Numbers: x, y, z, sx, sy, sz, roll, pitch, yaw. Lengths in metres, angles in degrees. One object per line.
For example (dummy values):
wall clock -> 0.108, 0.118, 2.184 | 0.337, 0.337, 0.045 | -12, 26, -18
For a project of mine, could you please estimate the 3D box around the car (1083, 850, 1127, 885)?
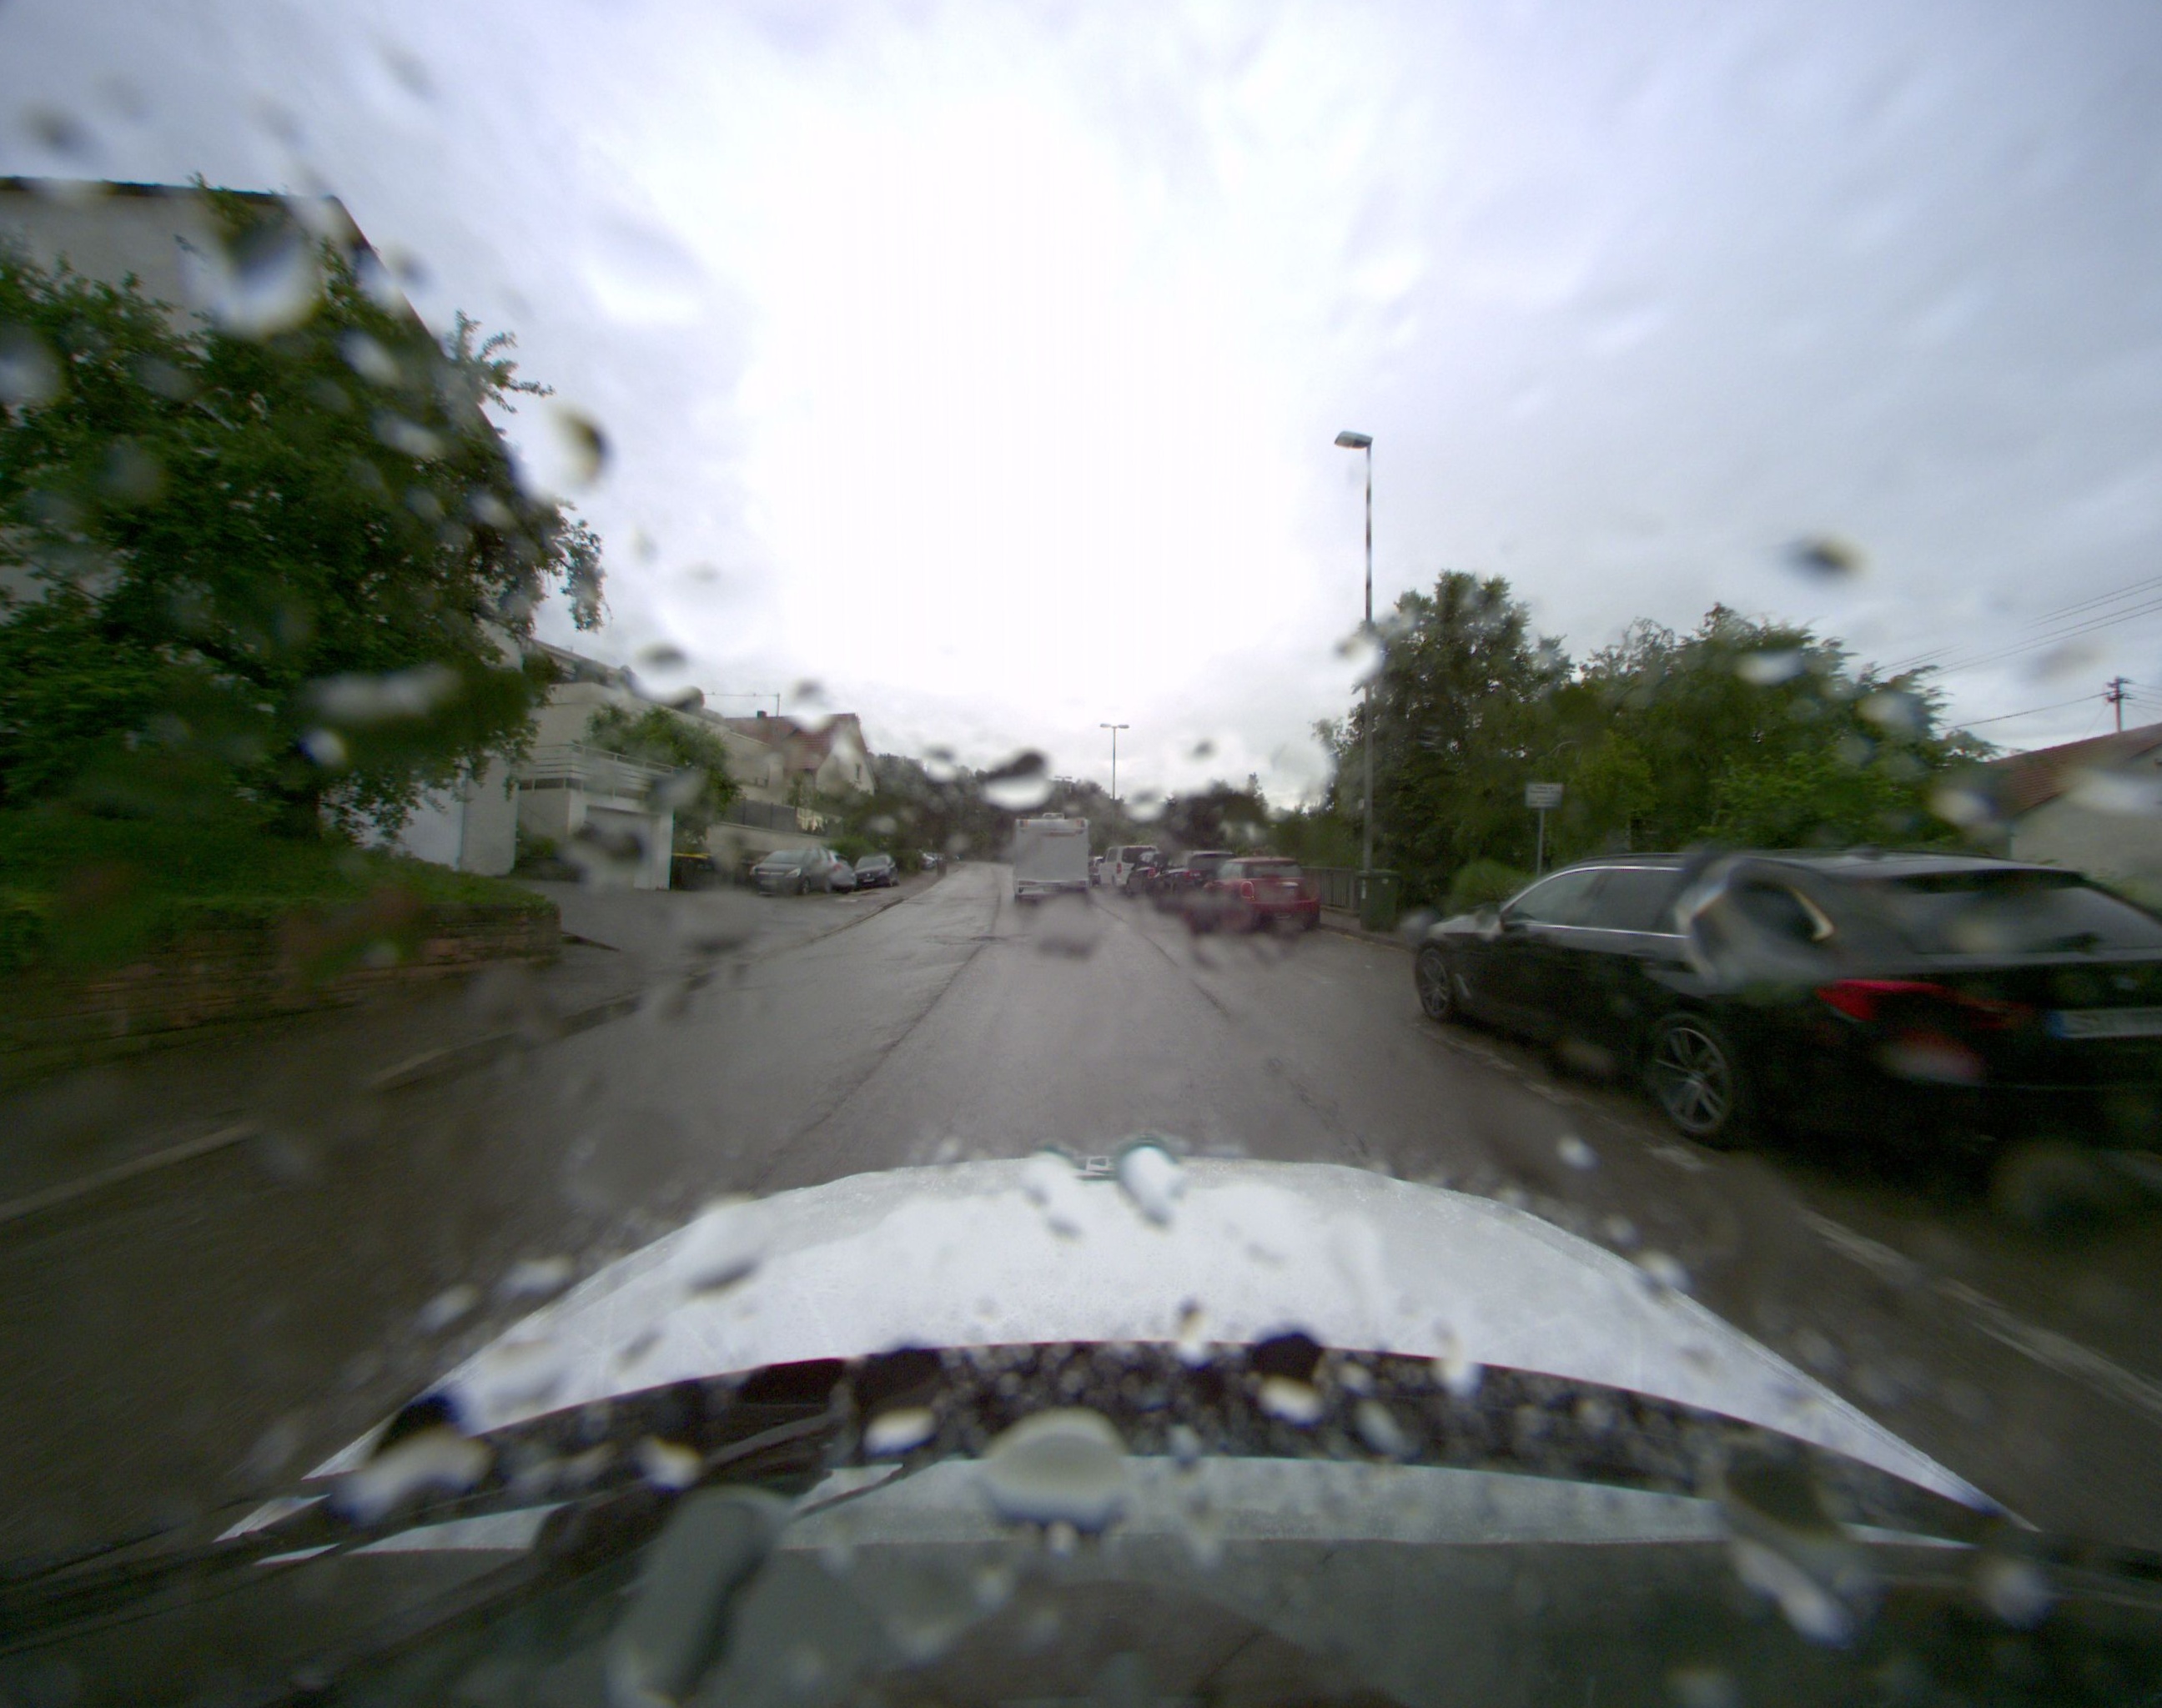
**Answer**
car -> 1.125, 0.628, 39.161 | 1.645, 1.563, 3.956 | -1, -1, -5

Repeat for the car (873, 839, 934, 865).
car -> -13.558, -0.158, 62.326 | 4.034, 1.692, 1.897 | 4, -1, 6

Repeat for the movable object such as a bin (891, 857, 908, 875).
movable object such as a bin -> -10.888, 0.731, 48.863 | 0.693, 1.083, 0.712 | 0, 0, 12

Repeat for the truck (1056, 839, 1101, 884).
truck -> -0.240, 0.461, 51.843 | 2.236, 2.631, 6.525 | -1, -1, -5

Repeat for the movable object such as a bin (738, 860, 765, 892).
movable object such as a bin -> -11.181, 0.740, 27.633 | 0.648, 1.078, 0.559 | -1, 0, 14

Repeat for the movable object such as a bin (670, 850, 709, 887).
movable object such as a bin -> -11.458, 0.409, 23.842 | 0.745, 1.057, 0.703 | -1, -1, 9

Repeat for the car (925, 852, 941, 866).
car -> -17.836, 0.594, 98.092 | 1.606, 1.434, 3.949 | 4, 0, -7

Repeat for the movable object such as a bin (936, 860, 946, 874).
movable object such as a bin -> -9.461, 0.880, 55.125 | 0.602, 0.928, 0.562 | 2, 0, -11

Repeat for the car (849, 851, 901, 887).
car -> -9.892, 0.696, 39.391 | 1.801, 1.597, 4.407 | -1, -1, -7

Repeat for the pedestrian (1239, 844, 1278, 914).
pedestrian -> 4.232, 0.586, 19.456 | 0.716, 1.635, 0.706 | 0, 0, -5

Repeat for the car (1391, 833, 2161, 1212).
car -> 3.970, 0.658, 5.593 | 1.788, 1.459, 4.786 | -1, 0, -1

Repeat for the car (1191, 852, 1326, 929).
car -> 3.573, 0.692, 17.102 | 1.732, 1.414, 3.846 | -1, -1, -4

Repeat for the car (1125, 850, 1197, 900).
car -> 2.635, 0.682, 27.831 | 1.642, 1.541, 4.345 | -1, -1, -6

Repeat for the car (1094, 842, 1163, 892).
car -> 1.860, 0.511, 33.718 | 1.848, 1.882, 4.895 | -1, -1, -9

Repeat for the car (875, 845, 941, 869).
car -> -14.753, 0.275, 69.487 | 5.054, 1.944, 2.147 | -1, 0, 9

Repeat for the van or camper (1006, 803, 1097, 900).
van or camper -> -1.145, 0.034, 27.483 | 2.612, 2.853, 6.017 | 1, -2, -6

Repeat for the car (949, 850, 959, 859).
car -> -23.848, 0.099, 153.165 | 1.905, 1.607, 4.415 | 1, 0, -9

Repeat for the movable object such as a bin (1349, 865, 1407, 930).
movable object such as a bin -> 5.244, 0.750, 14.409 | 0.711, 1.093, 0.848 | 0, 0, -2

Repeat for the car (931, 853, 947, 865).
car -> -18.177, 0.602, 104.176 | 1.631, 1.396, 4.229 | 4, -1, -6

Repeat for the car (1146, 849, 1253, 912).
car -> 3.072, 0.668, 22.171 | 1.813, 1.506, 4.715 | -1, 0, -6

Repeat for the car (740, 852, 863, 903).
car -> -10.409, 0.864, 30.490 | 3.805, 1.477, 1.807 | -6, -1, 8

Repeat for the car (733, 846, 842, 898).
car -> -9.046, 0.535, 25.524 | 1.760, 1.376, 4.247 | 3, -1, 0
